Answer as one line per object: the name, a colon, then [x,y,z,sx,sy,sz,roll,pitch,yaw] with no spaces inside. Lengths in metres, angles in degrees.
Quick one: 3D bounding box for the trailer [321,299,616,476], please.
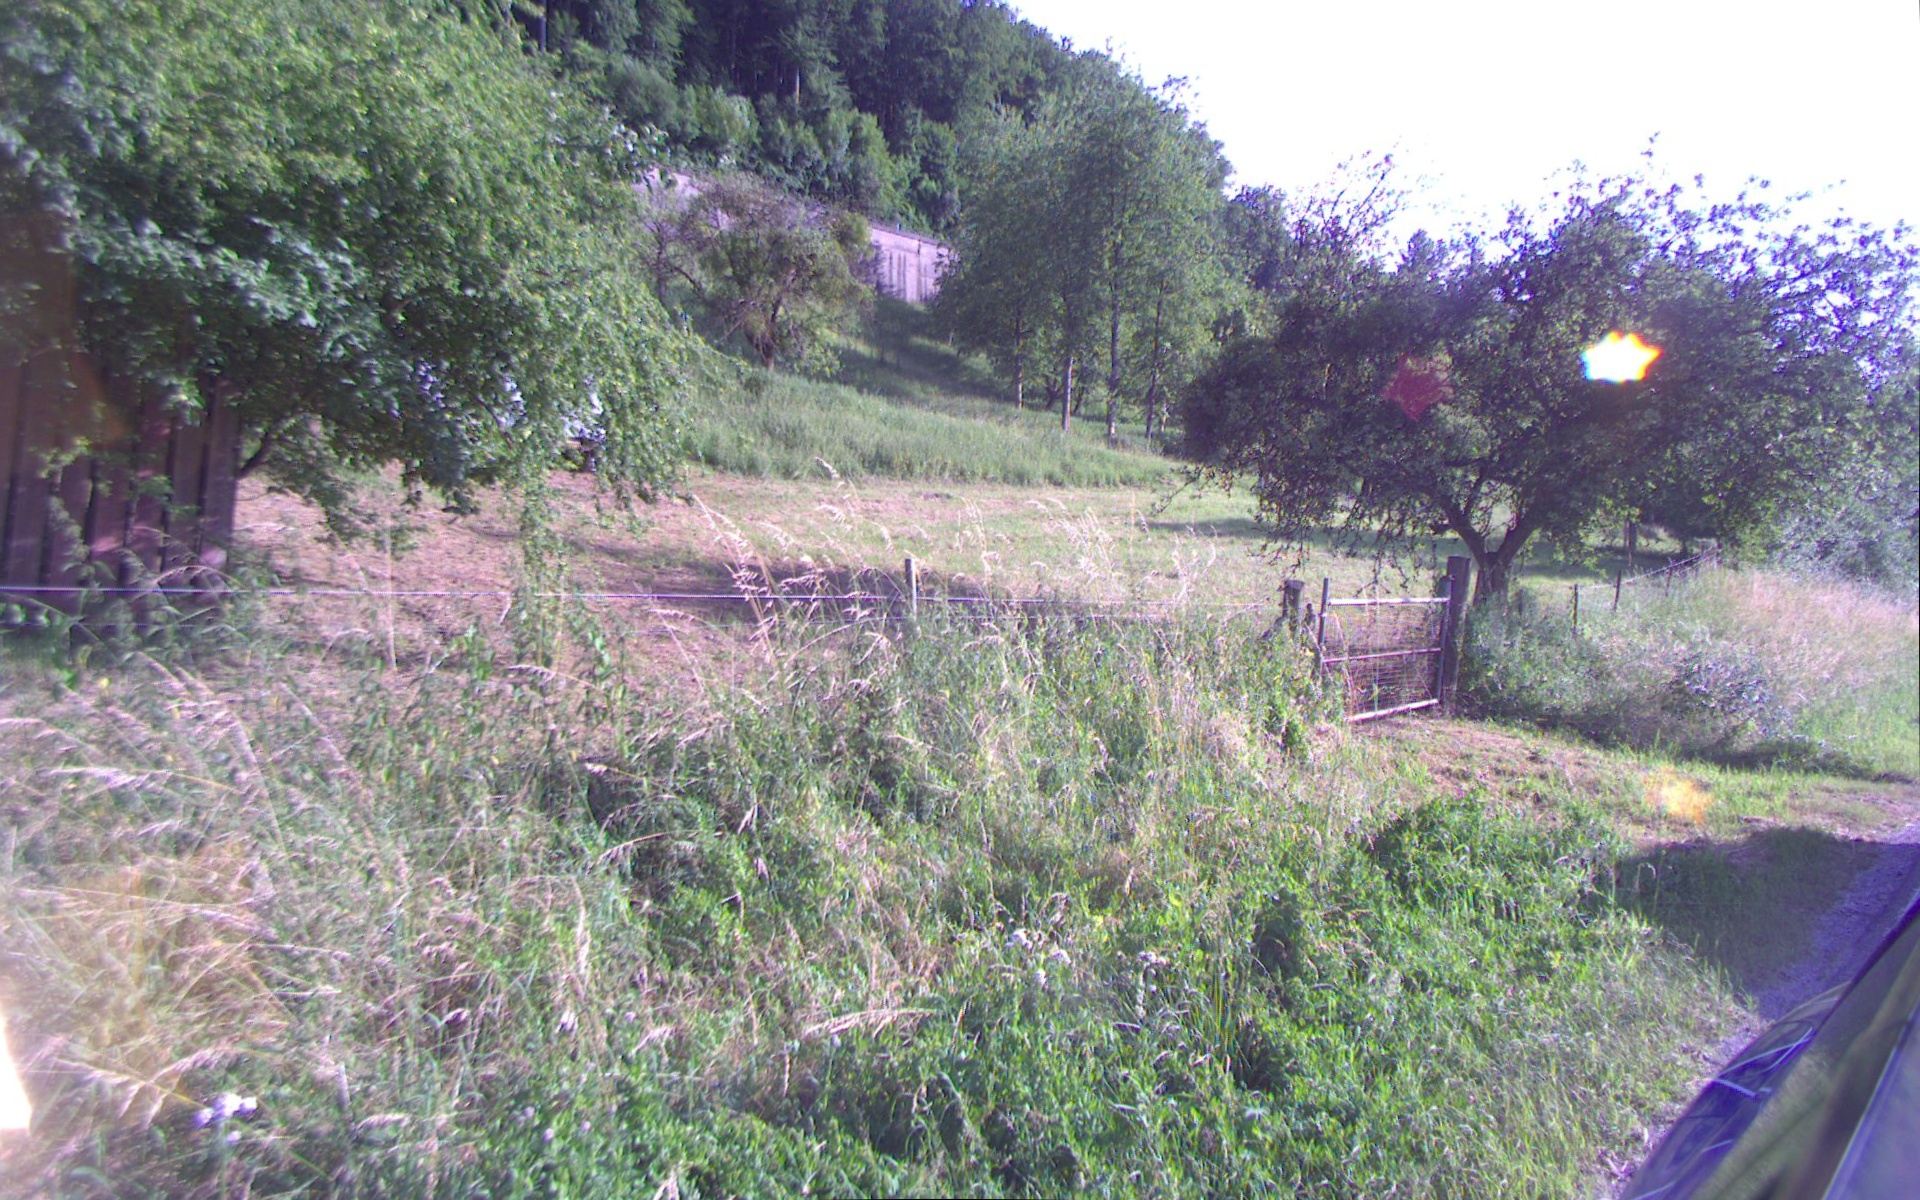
trailer: [-10.390,-4.334,21.696,5.159,2.590,2.155,4,1,-44]
